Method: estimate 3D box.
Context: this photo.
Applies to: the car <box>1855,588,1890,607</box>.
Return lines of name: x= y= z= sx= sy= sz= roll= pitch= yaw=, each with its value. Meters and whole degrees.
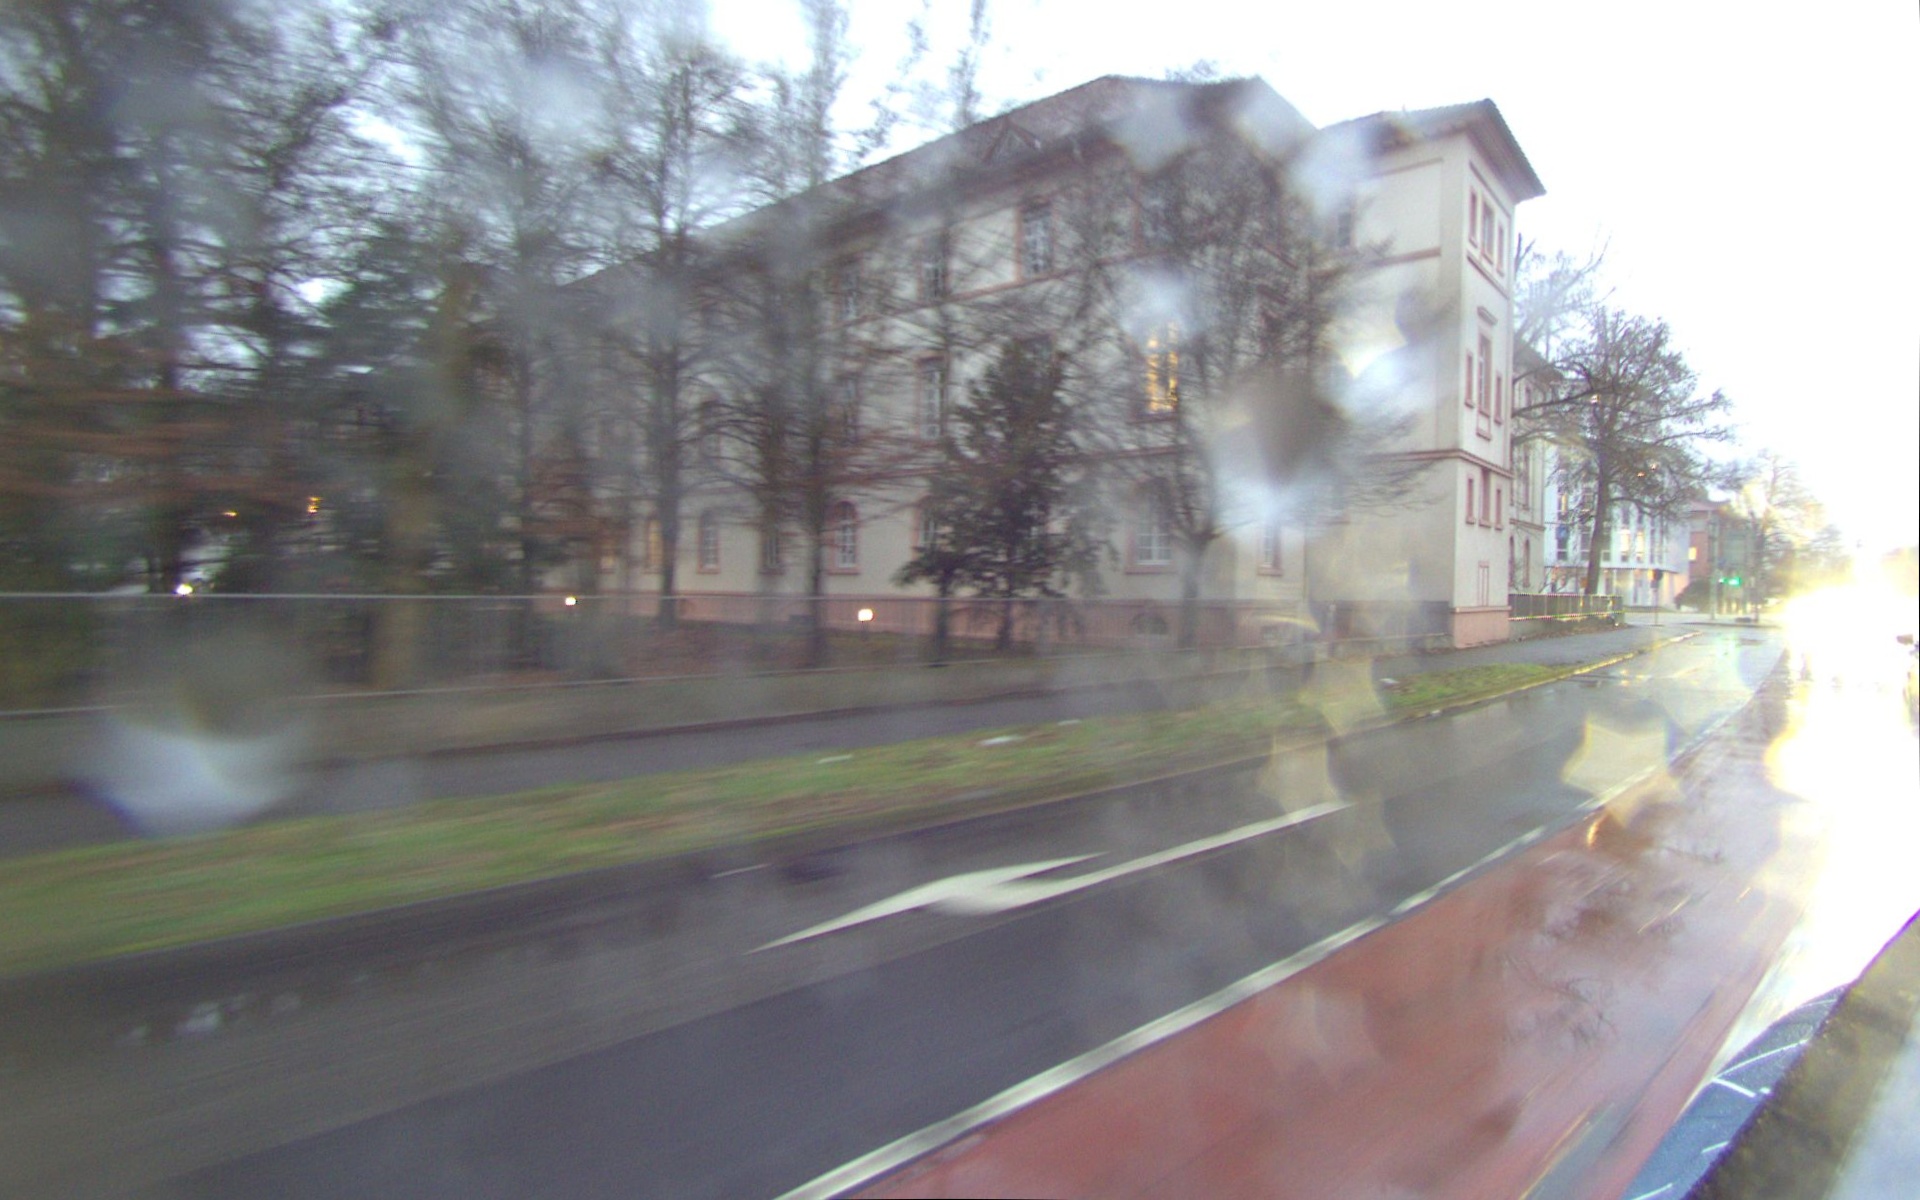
car: x=75.942 y=-0.204 z=84.271 sx=1.991 sy=1.554 sz=3.942 roll=0 pitch=0 yaw=40

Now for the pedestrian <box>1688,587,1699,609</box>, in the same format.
pedestrian: x=54.671 y=-0.144 z=75.444 sx=0.651 sy=1.609 sz=0.556 roll=0 pitch=-1 yaw=32

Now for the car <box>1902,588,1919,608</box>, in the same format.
car: x=77.838 y=-0.159 z=82.024 sx=1.991 sy=1.629 sz=3.942 roll=0 pitch=0 yaw=40

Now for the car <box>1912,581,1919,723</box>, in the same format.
car: x=12.734 y=0.575 z=12.324 sx=1.645 sy=1.604 sz=3.745 roll=0 pitch=1 yaw=44

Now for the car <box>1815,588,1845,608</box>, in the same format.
car: x=78.397 y=-0.186 z=91.197 sx=1.991 sy=1.725 sz=3.942 roll=0 pitch=0 yaw=40

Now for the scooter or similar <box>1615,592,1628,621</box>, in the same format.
scooter or similar: x=28.037 y=0.275 z=42.891 sx=0.438 sy=1.219 sz=1.069 roll=0 pitch=0 yaw=32

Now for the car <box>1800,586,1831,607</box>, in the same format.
car: x=73.420 y=-0.308 z=86.861 sx=1.991 sy=1.717 sz=3.942 roll=0 pitch=0 yaw=40
